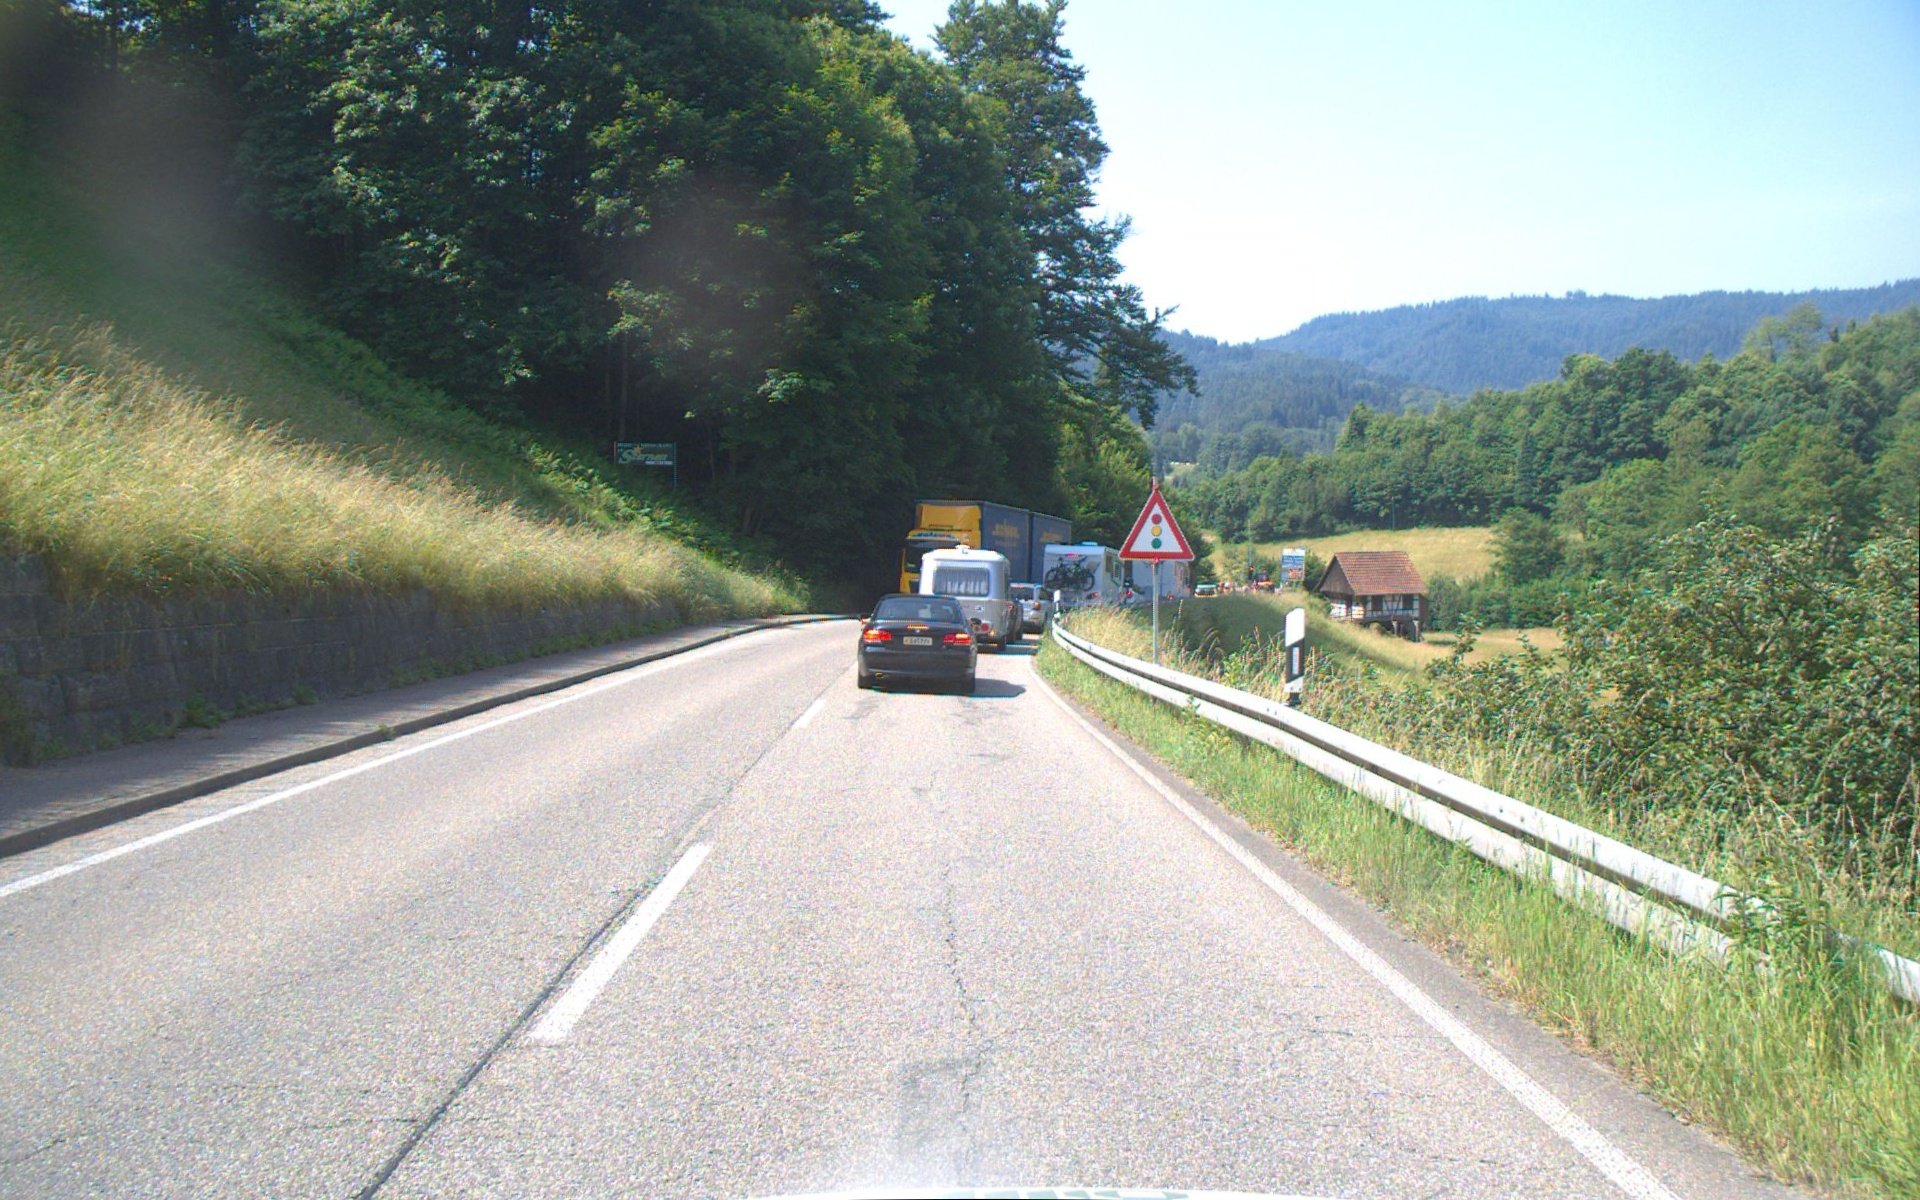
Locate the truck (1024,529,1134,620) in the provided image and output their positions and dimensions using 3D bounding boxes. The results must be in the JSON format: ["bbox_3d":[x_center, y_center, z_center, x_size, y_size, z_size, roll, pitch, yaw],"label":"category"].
[{"bbox_3d":[4.602,-0.964,62.665,2.732,3.049,6.873,4,2,15],"label":"truck"}]

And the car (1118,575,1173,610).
[{"bbox_3d":[8.790,-0.364,78.041,1.750,1.489,4.002,4,2,17],"label":"car"}]

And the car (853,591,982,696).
[{"bbox_3d":[-0.657,0.586,24.769,1.736,1.359,3.765,2,1,-2],"label":"car"}]

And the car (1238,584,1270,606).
[{"bbox_3d":[23.696,-0.419,133.282,1.952,1.603,4.001,3,0,19],"label":"car"}]

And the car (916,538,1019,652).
[{"bbox_3d":[0.242,-0.185,38.128,1.952,2.393,4.917,2,2,4],"label":"car"}]

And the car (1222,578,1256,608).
[{"bbox_3d":[19.606,-0.496,116.148,1.952,1.958,4.003,4,2,14],"label":"car"}]

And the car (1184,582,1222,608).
[{"bbox_3d":[15.753,-0.325,107.061,1.866,1.512,4.002,3,0,17],"label":"car"}]

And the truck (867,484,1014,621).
[{"bbox_3d":[-0.576,-1.669,58.910,3.122,4.472,6.575,3,2,18],"label":"truck"}]

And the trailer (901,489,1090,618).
[{"bbox_3d":[1.820,-1.762,66.404,3.192,4.494,15.323,3,1,18],"label":"trailer"}]

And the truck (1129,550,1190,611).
[{"bbox_3d":[10.280,-0.944,84.754,2.190,2.853,6.236,3,0,15],"label":"truck"}]

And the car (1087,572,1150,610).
[{"bbox_3d":[6.931,-0.400,71.966,1.952,1.489,4.003,4,2,16],"label":"car"}]

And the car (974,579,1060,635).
[{"bbox_3d":[1.776,0.176,50.383,1.951,1.510,4.004,4,1,11],"label":"car"}]
